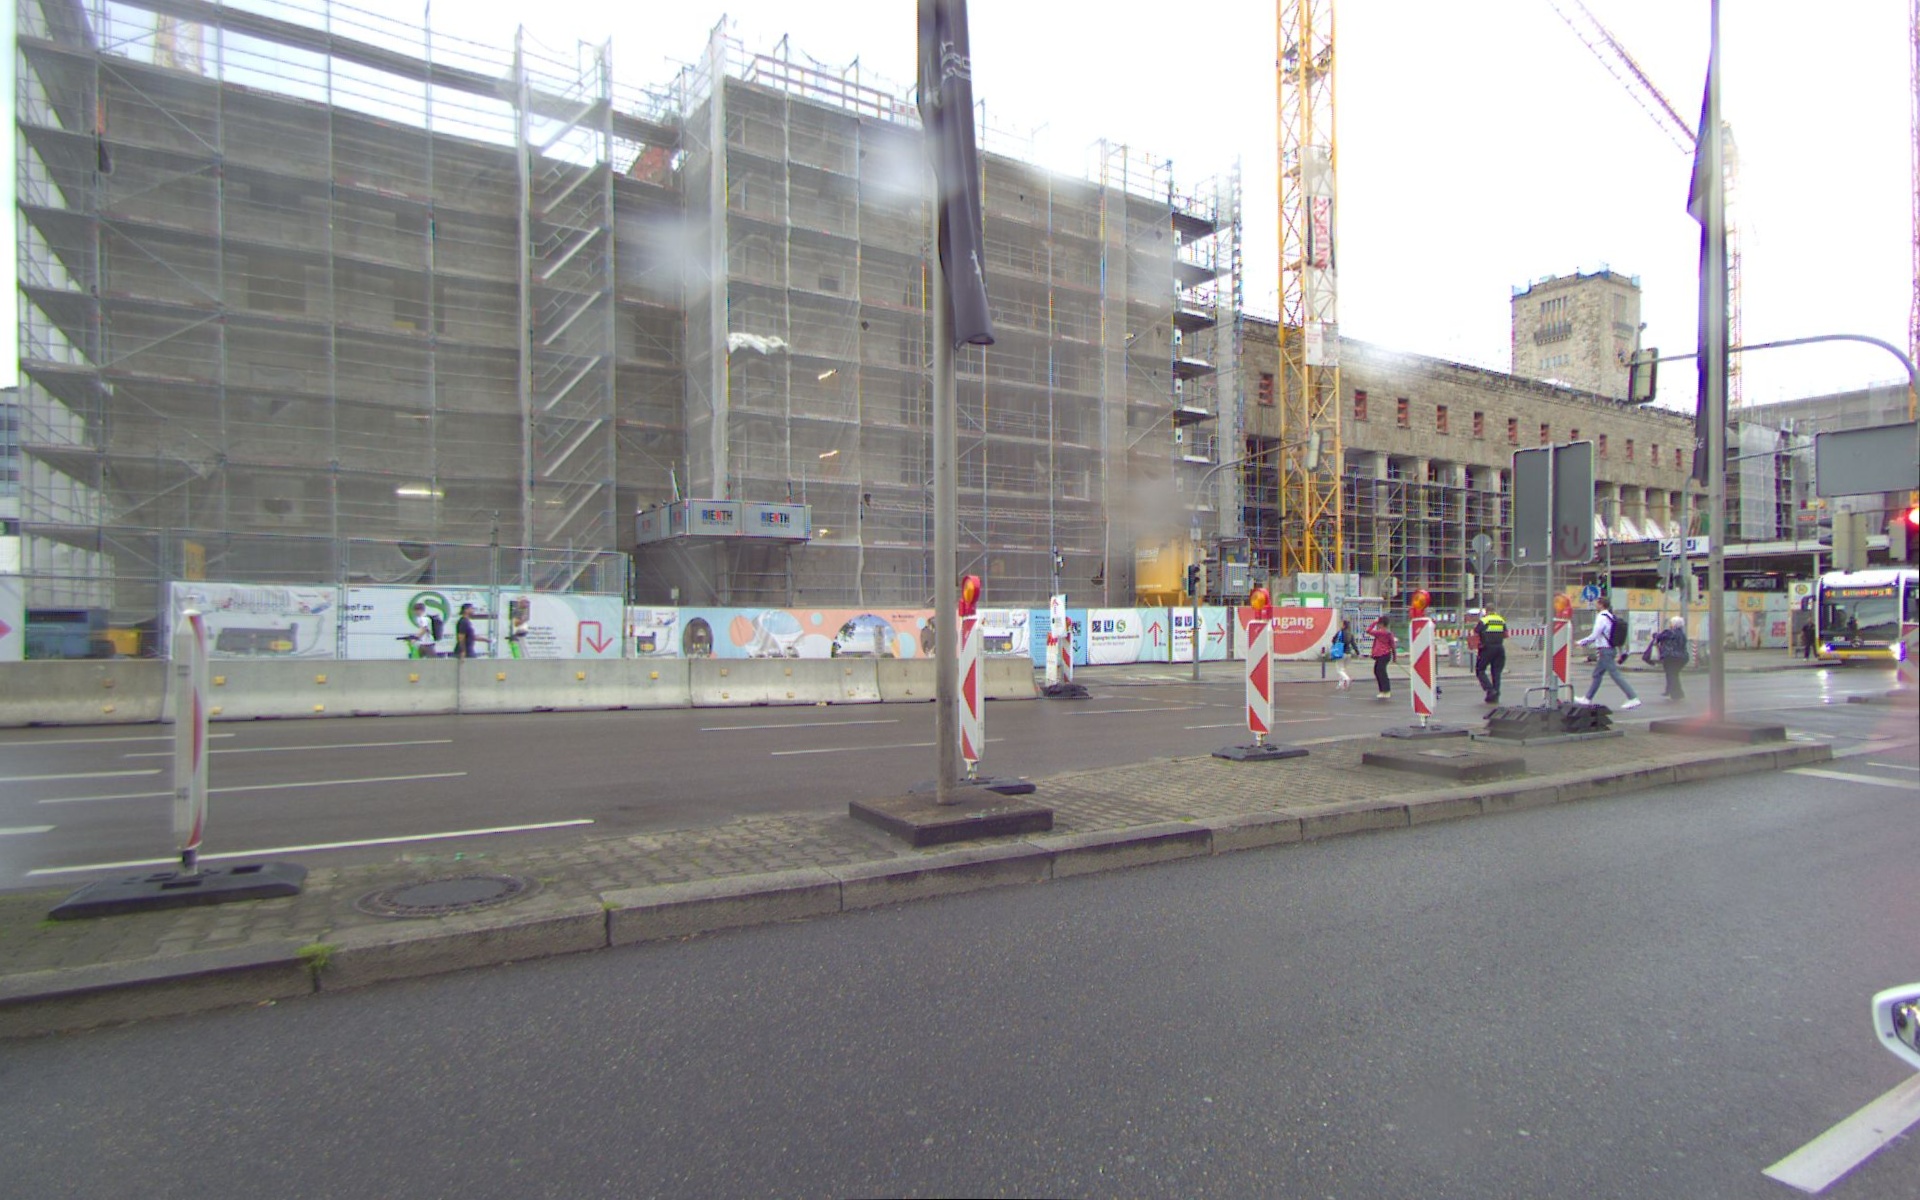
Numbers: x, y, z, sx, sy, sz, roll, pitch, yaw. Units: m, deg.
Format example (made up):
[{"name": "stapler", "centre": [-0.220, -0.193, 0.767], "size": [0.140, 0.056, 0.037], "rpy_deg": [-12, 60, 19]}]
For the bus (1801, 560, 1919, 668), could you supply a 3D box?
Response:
[{"name": "bus", "centre": [35.390, 0.597, 37.629], "size": [10.119, 3.650, 2.655], "rpy_deg": [2, 0, -30]}]

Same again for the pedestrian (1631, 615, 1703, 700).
[{"name": "pedestrian", "centre": [13.725, 1.094, 19.502], "size": [0.777, 1.581, 0.868], "rpy_deg": [1, 0, -29]}]

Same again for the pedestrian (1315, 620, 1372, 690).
[{"name": "pedestrian", "centre": [9.099, 1.290, 23.841], "size": [0.890, 1.584, 0.909], "rpy_deg": [1, 0, -33]}]

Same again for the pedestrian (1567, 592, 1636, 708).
[{"name": "pedestrian", "centre": [10.920, 0.830, 17.101], "size": [0.614, 1.915, 0.793], "rpy_deg": [1, 0, -38]}]

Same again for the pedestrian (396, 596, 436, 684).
[{"name": "pedestrian", "centre": [-11.669, 0.850, 21.539], "size": [0.709, 1.860, 0.478], "rpy_deg": [1, 0, -30]}]

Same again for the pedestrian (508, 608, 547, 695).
[{"name": "pedestrian", "centre": [-9.516, 1.120, 22.105], "size": [0.709, 1.860, 0.478], "rpy_deg": [1, 0, -30]}]

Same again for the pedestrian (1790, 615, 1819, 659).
[{"name": "pedestrian", "centre": [33.121, 1.451, 39.402], "size": [0.637, 1.703, 0.656], "rpy_deg": [1, 0, -30]}]

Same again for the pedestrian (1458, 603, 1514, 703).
[{"name": "pedestrian", "centre": [10.000, 0.994, 19.100], "size": [0.810, 1.860, 0.575], "rpy_deg": [1, 0, -30]}]

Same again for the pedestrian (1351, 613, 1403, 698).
[{"name": "pedestrian", "centre": [8.755, 1.148, 21.079], "size": [0.613, 1.740, 0.794], "rpy_deg": [1, -2, -33]}]

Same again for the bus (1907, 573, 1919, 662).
[{"name": "bus", "centre": [44.048, 0.852, 42.762], "size": [10.092, 3.650, 2.655], "rpy_deg": [2, 0, -30]}]

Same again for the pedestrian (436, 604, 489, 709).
[{"name": "pedestrian", "centre": [-9.135, 1.024, 18.434], "size": [0.810, 1.860, 0.575], "rpy_deg": [1, 0, -30]}]
